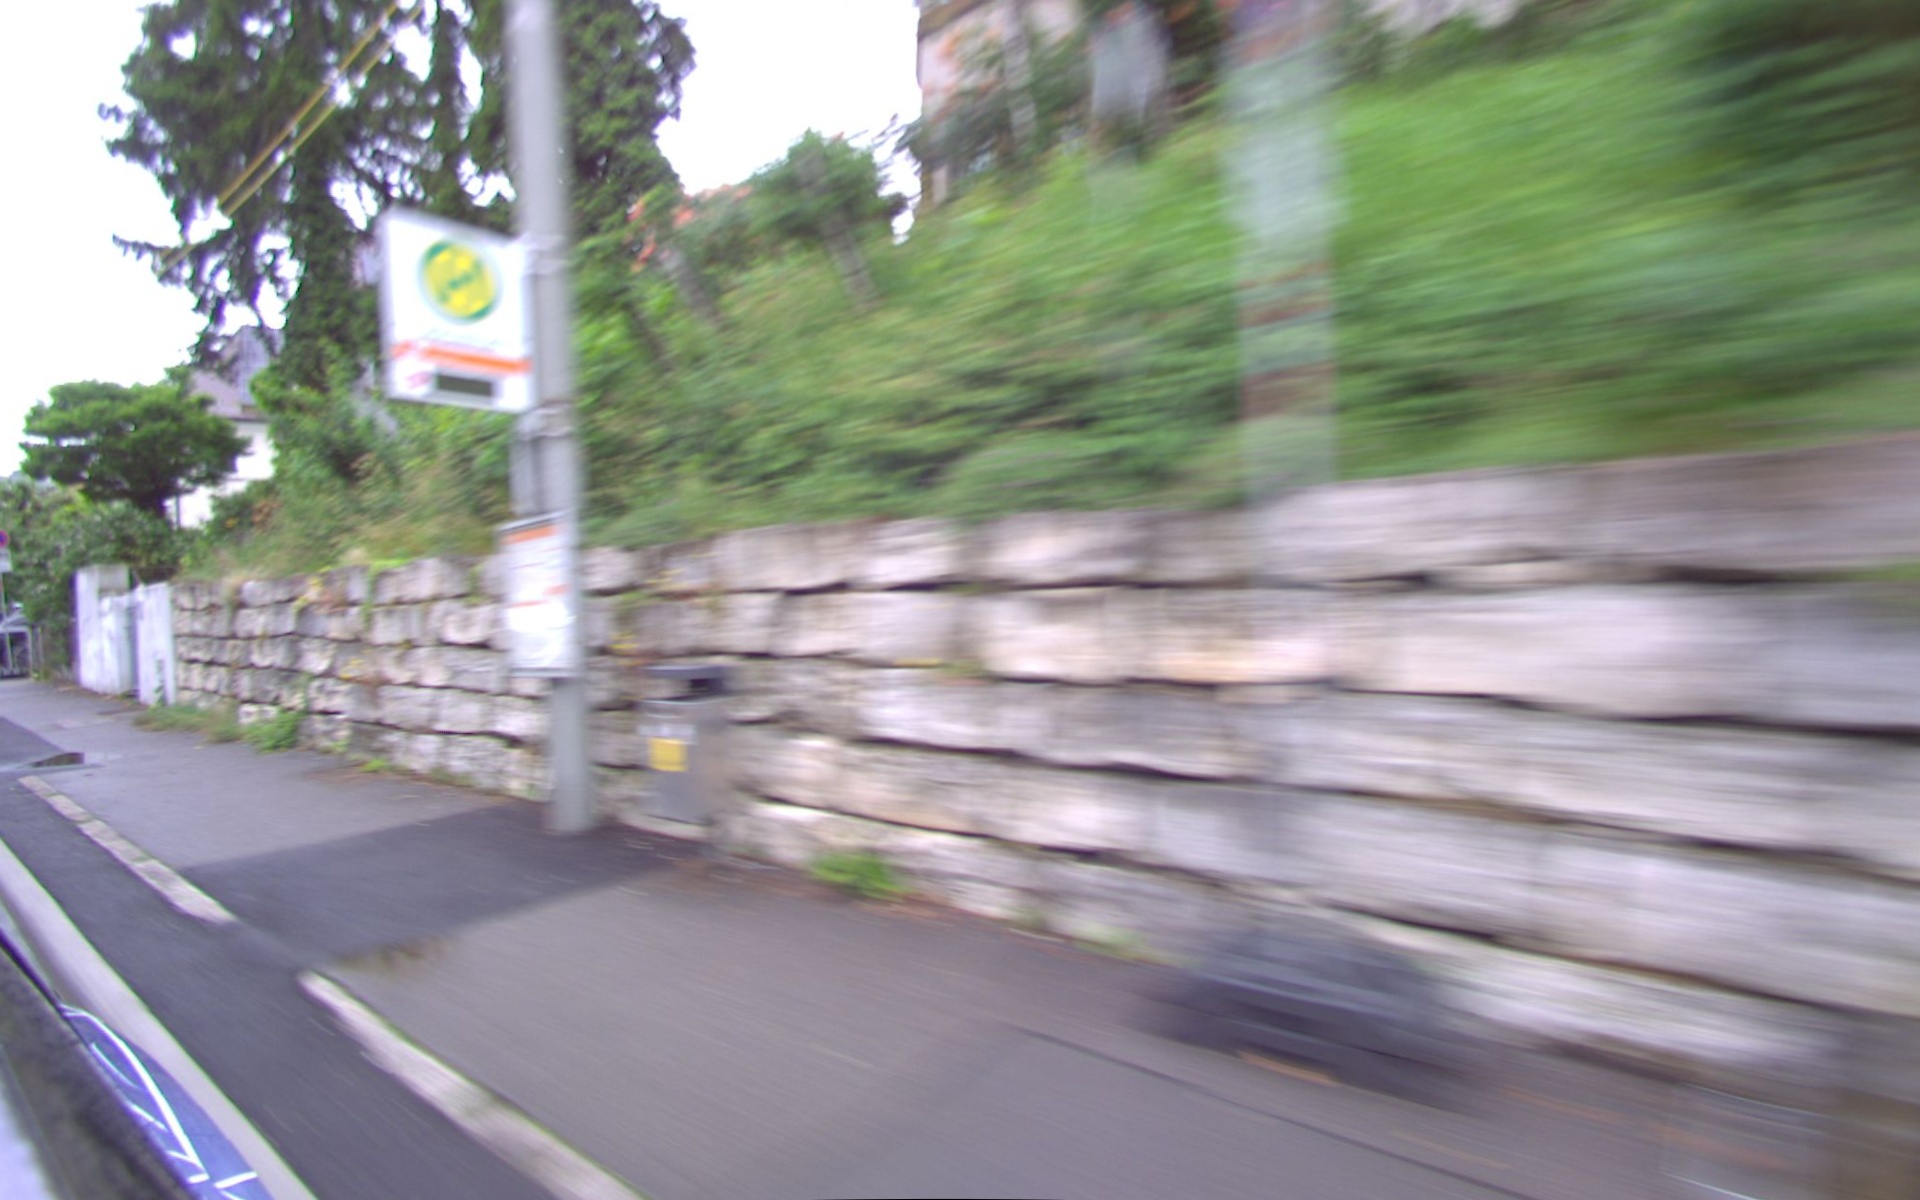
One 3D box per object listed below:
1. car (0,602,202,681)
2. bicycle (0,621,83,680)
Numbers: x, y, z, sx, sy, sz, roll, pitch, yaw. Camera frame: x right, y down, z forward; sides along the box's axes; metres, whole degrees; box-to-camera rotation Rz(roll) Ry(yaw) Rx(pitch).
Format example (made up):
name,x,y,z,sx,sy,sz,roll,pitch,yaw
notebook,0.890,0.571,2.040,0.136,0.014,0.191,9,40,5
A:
name,x,y,z,sx,sy,sz,roll,pitch,yaw
car,-20.260,0.942,23.443,3.942,1.537,1.788,-3,2,-2
bicycle,-19.825,1.079,21.582,1.597,1.139,0.444,-4,3,-36
